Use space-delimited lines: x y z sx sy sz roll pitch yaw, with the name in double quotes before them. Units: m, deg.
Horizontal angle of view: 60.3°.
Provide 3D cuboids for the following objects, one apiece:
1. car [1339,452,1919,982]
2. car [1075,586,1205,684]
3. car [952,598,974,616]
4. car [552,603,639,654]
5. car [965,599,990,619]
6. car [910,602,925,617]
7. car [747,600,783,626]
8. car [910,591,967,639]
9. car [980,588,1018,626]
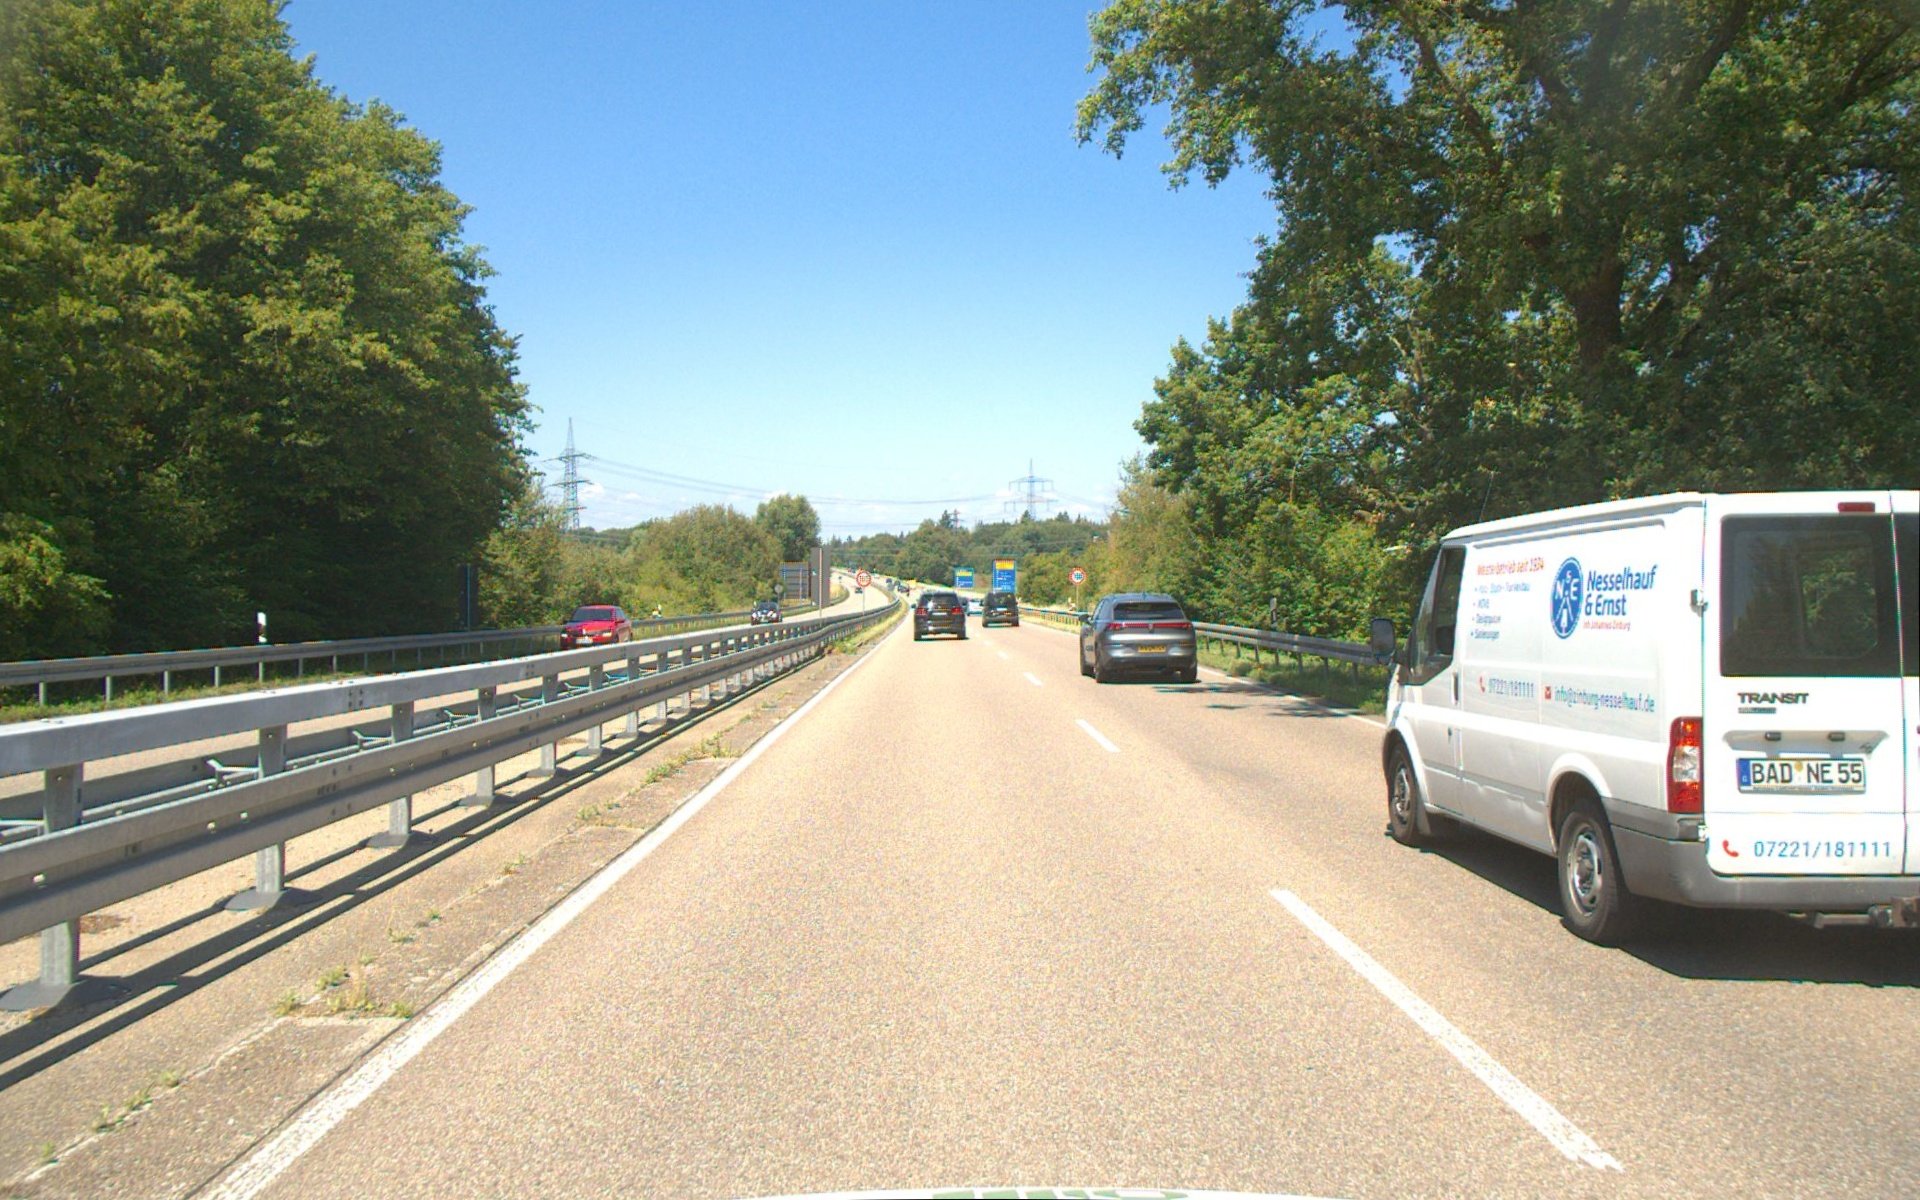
"car" 3.723 0.448 8.942 1.965 2.023 5.032 -1 0 -2
"car" 3.201 0.574 30.054 1.749 1.580 4.018 -2 1 -2
"car" 0.276 0.569 143.709 1.783 1.439 3.999 -1 1 -2
"car" -11.017 0.832 50.268 1.740 1.444 4.574 -1 0 -1
"car" 1.370 0.691 130.949 1.743 1.505 4.313 3 0 -3
"car" -4.500 0.960 176.217 1.484 1.500 3.064 2 1 -3
"car" -11.963 0.777 101.504 1.761 1.494 3.773 1 0 0
"car" -0.831 0.527 60.672 1.954 1.683 3.998 0 0 -3
"car" 1.976 0.332 84.984 1.744 1.848 4.212 -1 1 -1
